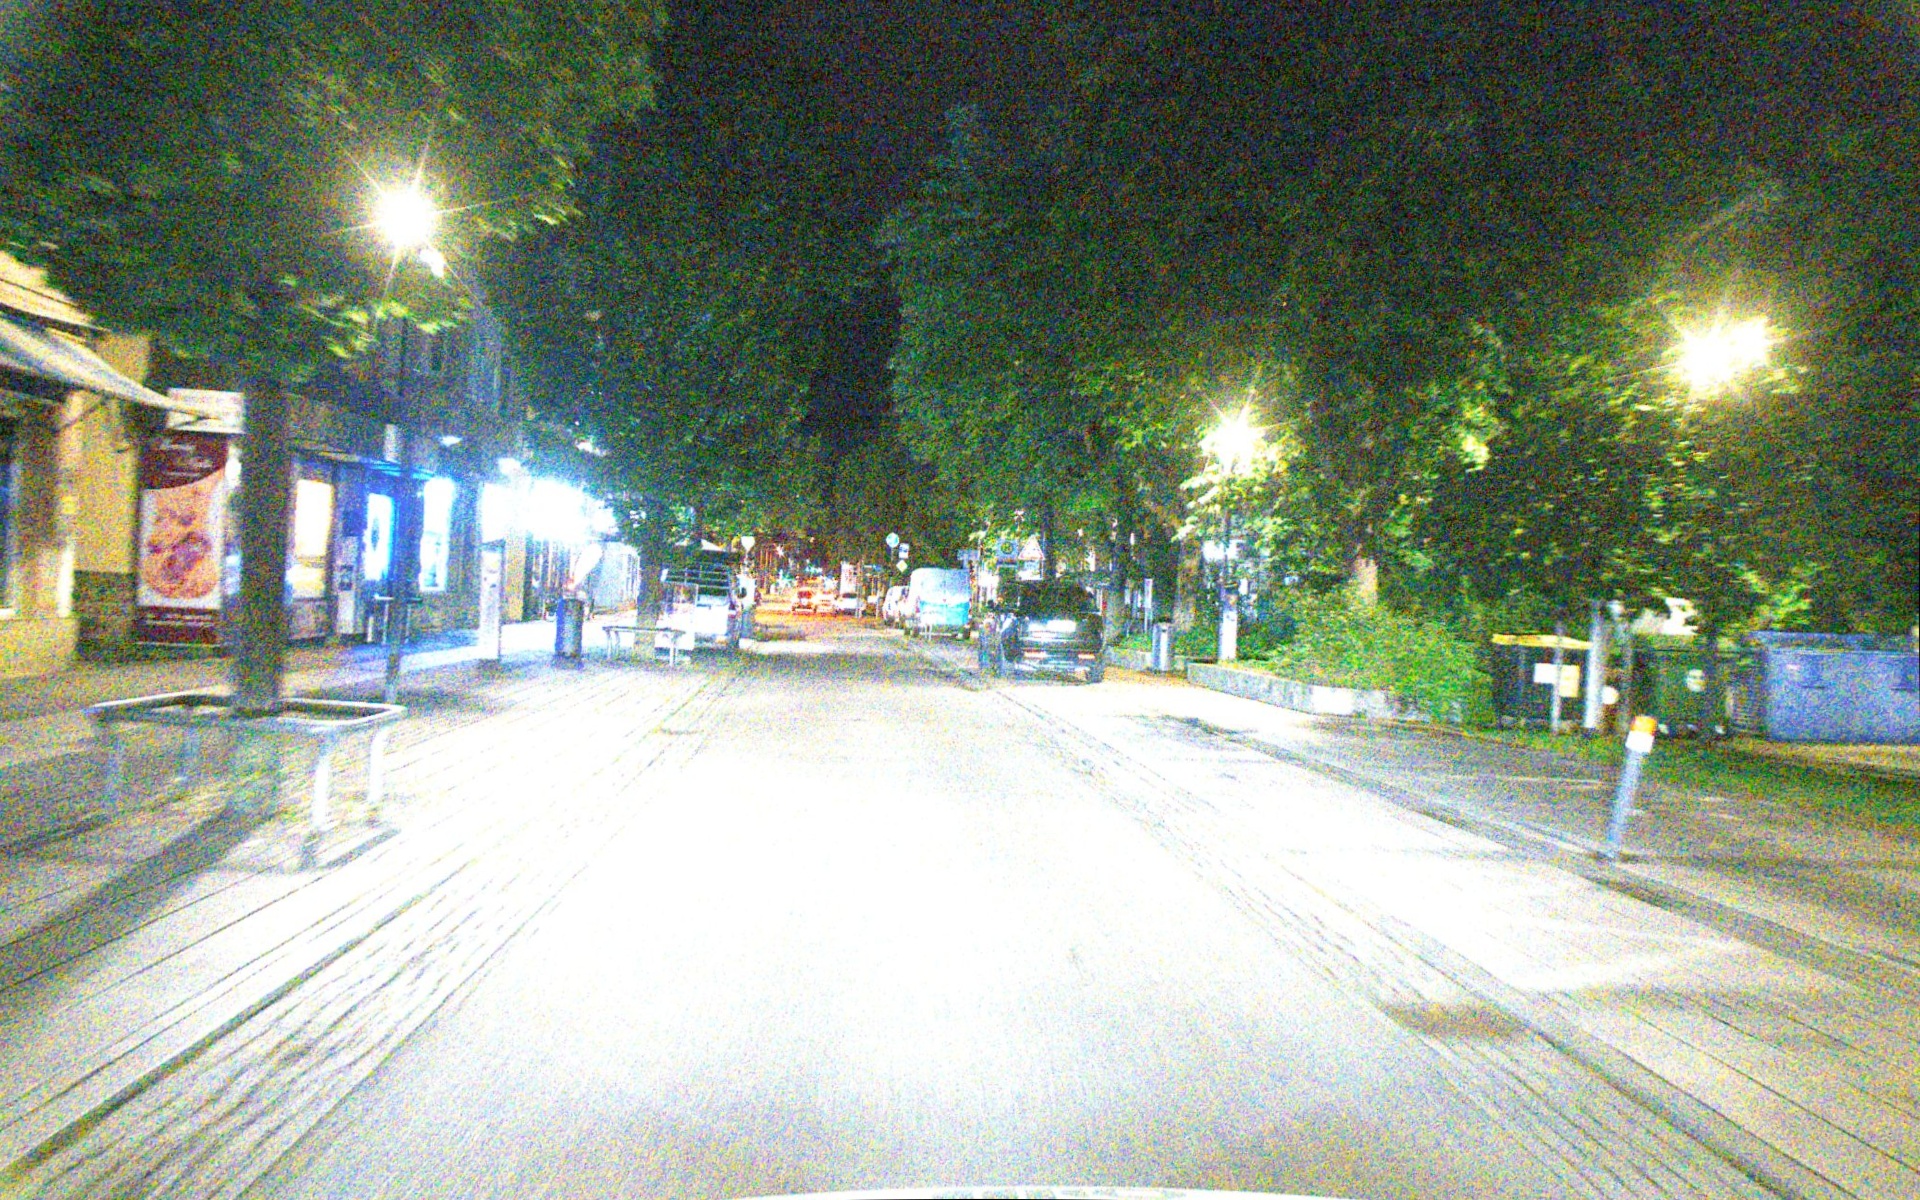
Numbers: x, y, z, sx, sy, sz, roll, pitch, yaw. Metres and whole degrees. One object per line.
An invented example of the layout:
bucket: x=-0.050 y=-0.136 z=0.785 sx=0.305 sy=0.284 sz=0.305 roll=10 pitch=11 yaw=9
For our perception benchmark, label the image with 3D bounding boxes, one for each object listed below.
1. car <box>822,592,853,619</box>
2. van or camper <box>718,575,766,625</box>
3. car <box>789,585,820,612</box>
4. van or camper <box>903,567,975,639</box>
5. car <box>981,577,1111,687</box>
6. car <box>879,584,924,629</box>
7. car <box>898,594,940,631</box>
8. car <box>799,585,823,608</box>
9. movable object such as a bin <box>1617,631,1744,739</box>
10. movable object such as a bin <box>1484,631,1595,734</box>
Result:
car: x=-7.648 y=0.304 z=103.081 sx=1.803 sy=1.569 sz=3.842 roll=2 pitch=0 yaw=-5
van or camper: x=-9.542 y=-0.019 z=72.260 sx=1.900 sy=2.023 sz=3.837 roll=2 pitch=0 yaw=-9
car: x=-11.350 y=-0.116 z=120.729 sx=1.956 sy=1.855 sz=3.992 roll=3 pitch=0 yaw=-8
van or camper: x=-0.770 y=0.082 z=57.114 sx=2.068 sy=2.357 sz=4.256 roll=1 pitch=0 yaw=-6
car: x=1.543 y=0.550 z=31.217 sx=1.780 sy=1.860 sz=4.342 roll=2 pitch=0 yaw=-6
car: x=-2.710 y=0.294 z=75.605 sx=1.803 sy=1.934 sz=3.842 roll=2 pitch=0 yaw=-5
car: x=-1.748 y=0.499 z=70.017 sx=1.501 sy=1.443 sz=3.842 roll=2 pitch=0 yaw=-5
car: x=-12.745 y=-0.313 z=141.413 sx=1.955 sy=1.855 sz=3.995 roll=3 pitch=0 yaw=-6
movable object such as a bin: x=10.164 y=1.186 z=23.372 sx=1.236 sy=1.444 sz=1.116 roll=2 pitch=-1 yaw=-5
movable object such as a bin: x=8.088 y=1.135 z=23.125 sx=1.083 sy=1.329 sz=1.009 roll=4 pitch=-1 yaw=-7
